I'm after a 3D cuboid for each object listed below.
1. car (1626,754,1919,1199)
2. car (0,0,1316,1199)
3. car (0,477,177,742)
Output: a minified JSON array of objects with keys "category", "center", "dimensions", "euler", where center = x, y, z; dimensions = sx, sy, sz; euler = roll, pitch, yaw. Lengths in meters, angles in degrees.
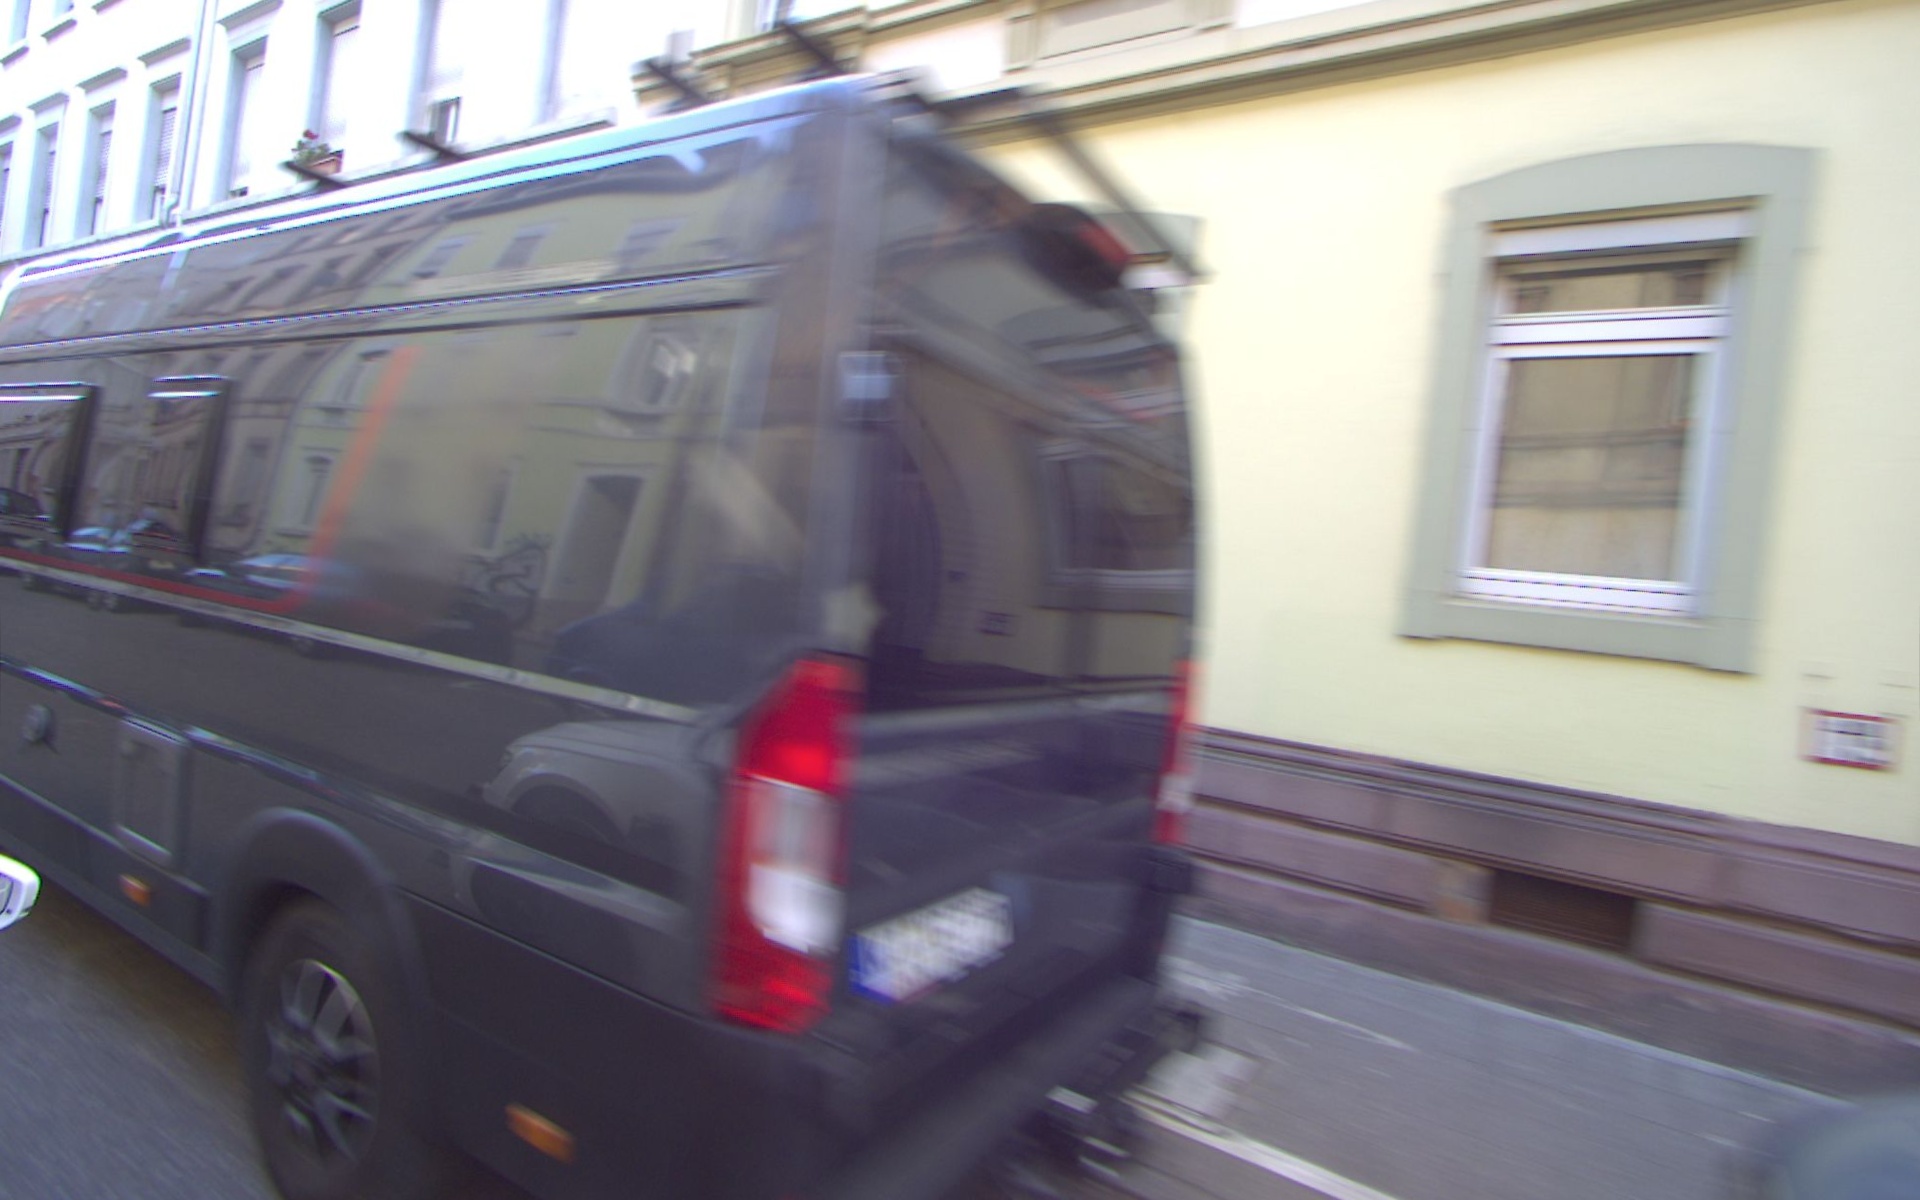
[{"category":"car","center":[3.047,1.243,0.762],"dimensions":[4.103,1.461,1.750],"euler":[7,-1,32]},{"category":"car","center":[-2.191,0.039,3.896],"dimensions":[6.204,2.456,2.177],"euler":[7,1,32]},{"category":"car","center":[-7.690,-0.145,7.322],"dimensions":[4.302,1.628,1.695],"euler":[7,1,32]}]
